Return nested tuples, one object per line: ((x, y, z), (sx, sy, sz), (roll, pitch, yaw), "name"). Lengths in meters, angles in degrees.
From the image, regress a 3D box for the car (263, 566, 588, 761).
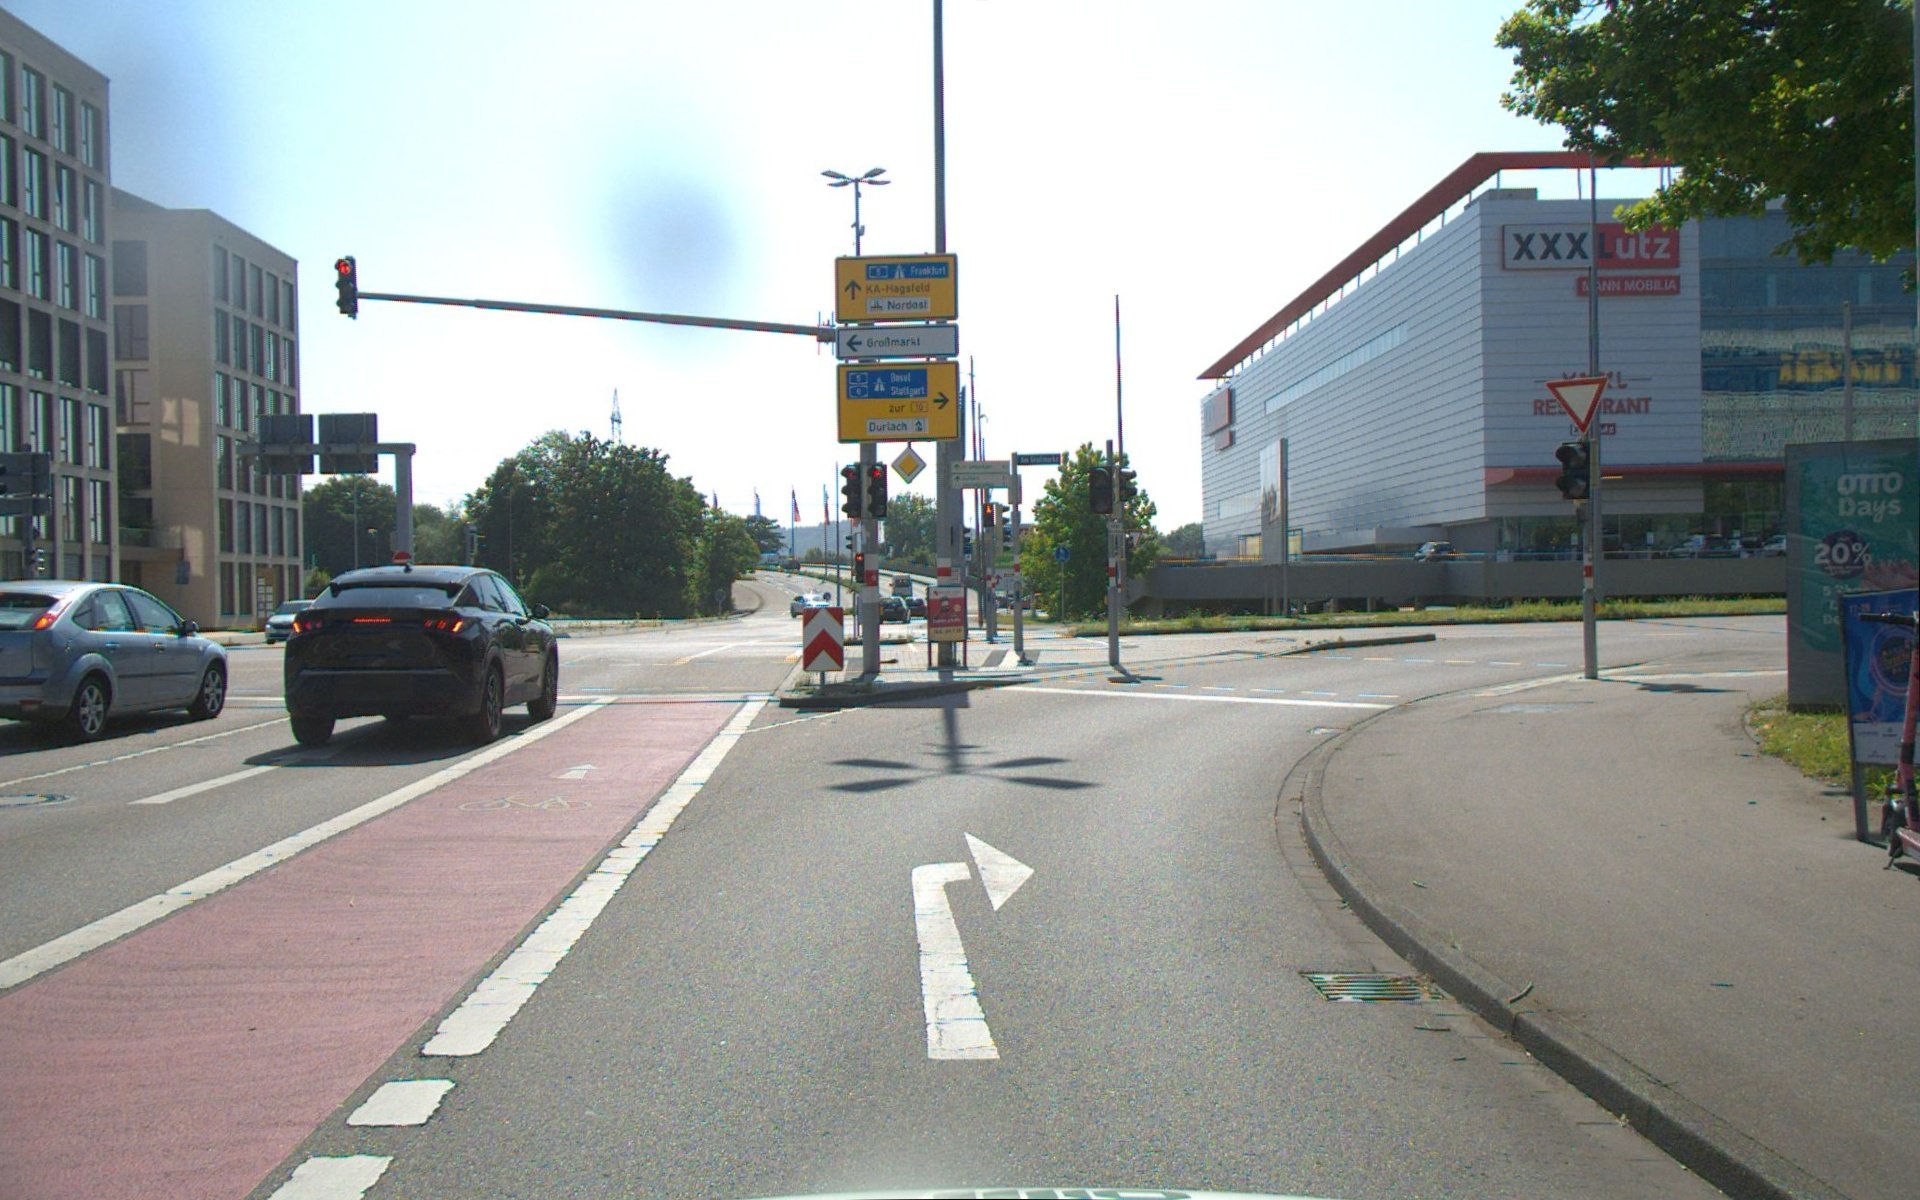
((-5.213, 0.537, 16.813), (1.770, 1.668, 4.459), (-2, 1, 1), "car")

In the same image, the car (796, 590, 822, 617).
((-10.725, 0.256, 117.410), (1.725, 1.825, 3.344), (-2, 0, -4), "car")

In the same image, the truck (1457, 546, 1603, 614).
((21.455, -0.772, 62.367), (4.781, 2.466, 2.000), (1, 1, 0), "truck")

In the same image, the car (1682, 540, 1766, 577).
((43.697, -2.376, 94.637), (3.908, 2.048, 1.999), (1, 1, -4), "car")

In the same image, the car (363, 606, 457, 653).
((-19.200, 0.995, 57.903), (1.778, 1.489, 4.001), (-2, 0, 2), "car")

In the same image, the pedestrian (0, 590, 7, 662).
((-28.380, 0.753, 48.435), (0.747, 2.048, 0.926), (0, 1, -28), "pedestrian")

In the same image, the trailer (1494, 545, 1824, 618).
((26.306, -0.710, 62.465), (11.630, 2.512, 2.000), (1, 1, -1), "trailer")

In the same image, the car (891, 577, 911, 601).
((-5.952, -1.119, 167.409), (1.953, 2.361, 4.000), (1, 1, -1), "car")

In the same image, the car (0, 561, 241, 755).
((-9.073, 0.525, 16.696), (1.953, 1.713, 3.998), (-2, 0, -2), "car")

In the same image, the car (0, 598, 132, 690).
((-14.948, 0.694, 27.290), (1.190, 1.354, 2.799), (1, 1, -1), "car")

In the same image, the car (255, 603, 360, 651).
((-22.256, 0.887, 56.565), (1.853, 1.489, 4.001), (-2, 0, 2), "car")

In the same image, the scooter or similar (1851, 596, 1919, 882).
((4.437, 0.621, 7.432), (0.343, 1.255, 1.312), (-2, 0, 11), "scooter or similar")

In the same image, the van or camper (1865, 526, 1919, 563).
((54.587, -3.134, 94.351), (4.885, 2.048, 1.999), (1, 1, -4), "van or camper")

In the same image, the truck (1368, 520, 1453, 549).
((33.859, -4.906, 124.457), (5.789, 2.048, 2.000), (1, 1, -1), "truck")

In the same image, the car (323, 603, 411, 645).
((-22.817, 0.903, 63.777), (1.778, 1.489, 4.001), (-2, 0, 2), "car")

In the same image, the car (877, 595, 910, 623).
((-3.605, 0.457, 90.246), (1.654, 1.382, 4.000), (1, 2, -1), "car")

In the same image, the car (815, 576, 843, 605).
((-9.991, -0.738, 126.432), (1.953, 2.048, 3.980), (1, 1, -2), "car")

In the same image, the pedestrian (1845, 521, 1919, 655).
((12.771, -0.169, 22.768), (0.616, 1.801, 0.802), (-2, 0, -13), "pedestrian")

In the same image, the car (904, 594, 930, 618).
((-2.819, 0.378, 109.157), (1.654, 1.382, 4.000), (1, 2, -1), "car")
